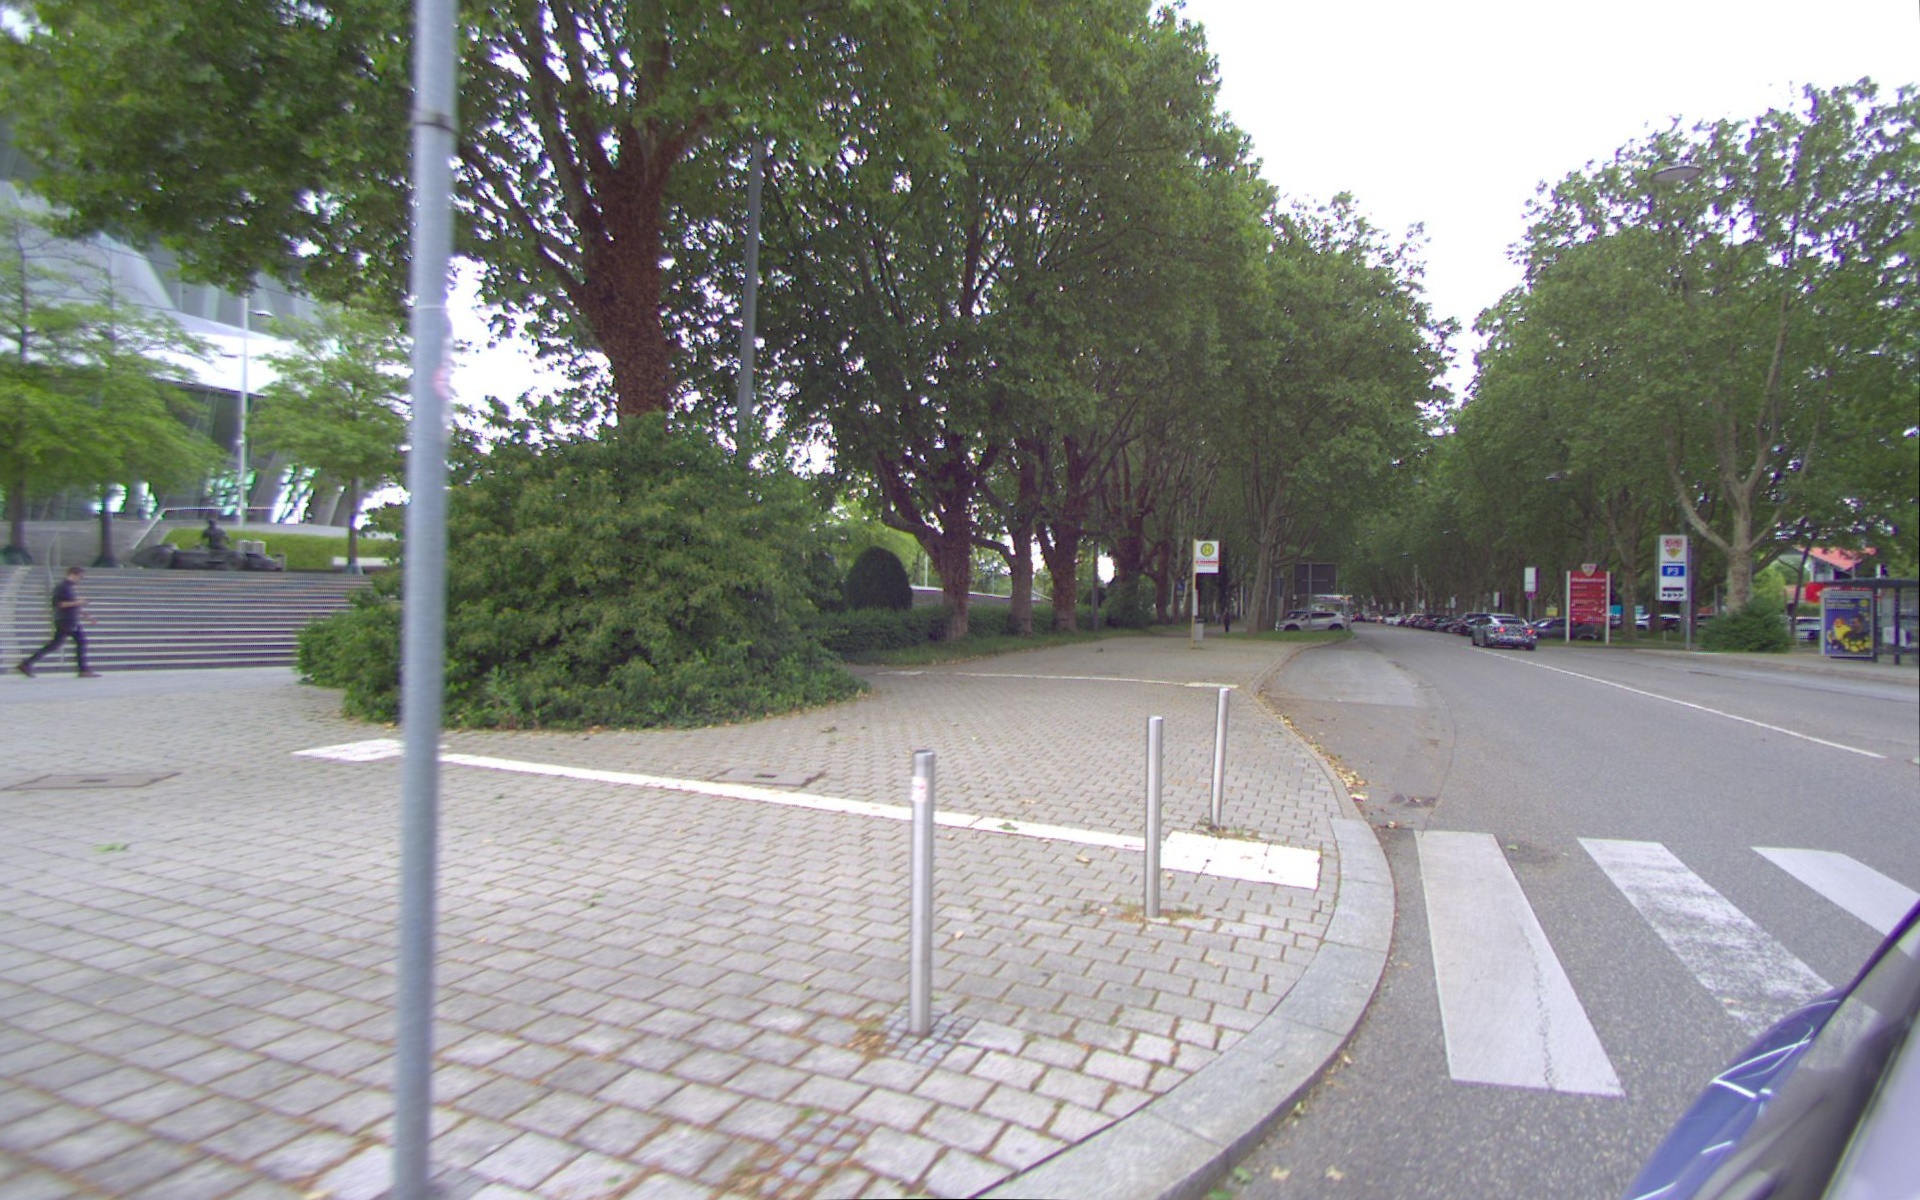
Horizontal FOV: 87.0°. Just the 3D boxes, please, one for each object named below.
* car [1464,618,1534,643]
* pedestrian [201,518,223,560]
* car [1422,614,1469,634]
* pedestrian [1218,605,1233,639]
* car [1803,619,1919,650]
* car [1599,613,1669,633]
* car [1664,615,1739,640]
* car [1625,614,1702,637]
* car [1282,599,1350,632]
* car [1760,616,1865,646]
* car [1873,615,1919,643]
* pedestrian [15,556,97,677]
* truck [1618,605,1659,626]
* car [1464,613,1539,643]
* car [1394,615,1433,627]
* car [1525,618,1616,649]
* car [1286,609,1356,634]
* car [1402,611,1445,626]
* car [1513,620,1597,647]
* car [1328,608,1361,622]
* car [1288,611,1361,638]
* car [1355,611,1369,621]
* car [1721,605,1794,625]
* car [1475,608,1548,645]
[{"bbox_3d":[38.114,2.154,71.706,4.096,1.470,1.998,3,0,23],"label":"car"},{"bbox_3d":[-23.563,-1.914,31.869,0.495,1.285,0.617,1,-1,-42],"label":"pedestrian"},{"bbox_3d":[47.923,2.352,99.914,3.893,1.730,1.741,2,-1,19],"label":"car"},{"bbox_3d":[15.929,1.292,60.673,0.773,2.039,0.598,0,-1,4],"label":"pedestrian"},{"bbox_3d":[48.044,1.814,53.880,4.280,1.568,2.189,0,-1,20],"label":"car"},{"bbox_3d":[62.052,2.077,93.284,4.892,1.820,2.170,0,-1,18],"label":"car"},{"bbox_3d":[57.746,2.138,78.878,4.280,1.884,2.015,0,-1,20],"label":"car"},{"bbox_3d":[59.677,2.178,85.939,4.892,1.820,2.170,1,-1,18],"label":"car"},{"bbox_3d":[22.588,0.991,64.270,3.951,2.040,1.986,-1,-2,21],"label":"car"},{"bbox_3d":[50.916,1.817,60.523,4.280,1.731,2.118,0,-1,20],"label":"car"},{"bbox_3d":[65.819,1.950,69.186,4.546,1.879,2.276,0,-1,26],"label":"car"},{"bbox_3d":[-14.022,0.254,15.717,0.702,1.845,0.623,0,-1,-3],"label":"pedestrian"},{"bbox_3d":[88.612,1.997,132.210,3.949,2.751,2.361,0,-1,19],"label":"truck"},{"bbox_3d":[37.314,1.920,69.876,4.279,1.833,1.854,2,-1,21],"label":"car"},{"bbox_3d":[59.298,2.750,132.418,4.366,1.442,1.764,2,-1,19],"label":"car"},{"bbox_3d":[33.057,1.794,54.920,3.960,1.560,1.791,0,-1,22],"label":"car"},{"bbox_3d":[23.828,1.437,66.872,4.307,1.626,1.911,-1,-2,21],"label":"car"},{"bbox_3d":[49.169,1.987,107.493,3.955,1.438,1.692,2,-1,19],"label":"car"},{"bbox_3d":[34.903,1.949,59.468,3.957,1.513,1.820,0,-1,21],"label":"car"},{"bbox_3d":[55.861,2.149,147.017,3.917,2.039,2.003,1,-1,-10],"label":"car"},{"bbox_3d":[23.163,1.583,64.333,4.307,1.655,1.911,-1,-2,21],"label":"car"},{"bbox_3d":[64.184,2.544,161.530,1.824,1.529,3.990,0,-1,18],"label":"car"},{"bbox_3d":[74.925,1.388,95.124,4.892,1.820,2.170,0,-1,18],"label":"car"},{"bbox_3d":[24.261,1.147,44.677,1.882,1.471,4.786,2,-1,17],"label":"car"}]
